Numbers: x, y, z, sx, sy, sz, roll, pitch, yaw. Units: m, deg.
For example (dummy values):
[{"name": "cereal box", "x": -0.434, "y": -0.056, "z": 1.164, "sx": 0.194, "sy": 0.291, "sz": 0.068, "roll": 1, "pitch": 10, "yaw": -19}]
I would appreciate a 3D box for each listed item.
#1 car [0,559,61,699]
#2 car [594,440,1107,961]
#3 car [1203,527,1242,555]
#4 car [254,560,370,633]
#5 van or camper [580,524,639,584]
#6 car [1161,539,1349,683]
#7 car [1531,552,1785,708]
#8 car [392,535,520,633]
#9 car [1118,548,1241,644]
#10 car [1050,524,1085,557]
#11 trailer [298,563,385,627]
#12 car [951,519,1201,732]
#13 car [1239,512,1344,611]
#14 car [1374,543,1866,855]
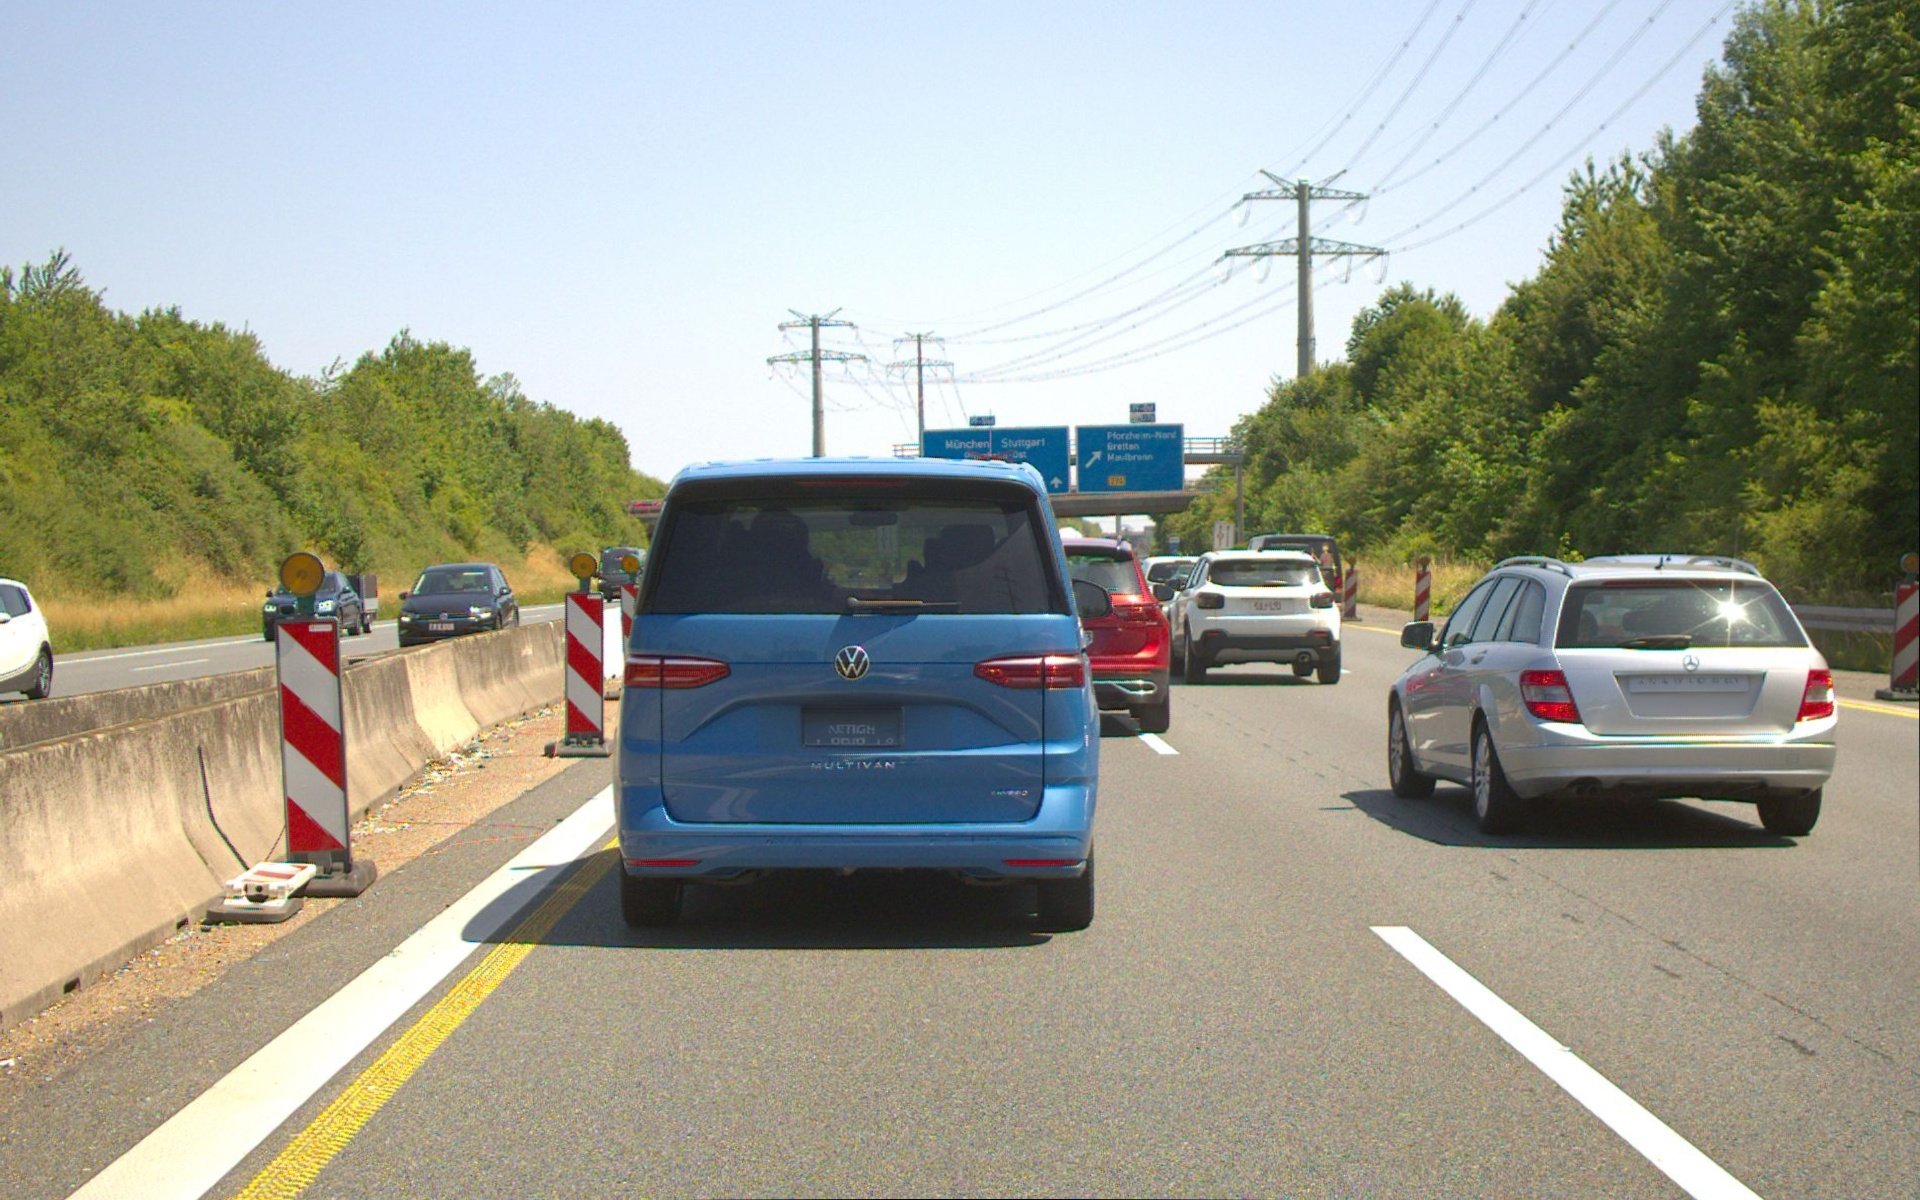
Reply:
[{"name": "car", "x": -12.496, "y": 0.366, "z": 41.847, "sx": 1.993, "sy": 1.656, "sz": 4.230, "roll": -1, "pitch": 1, "yaw": -1}, {"name": "car", "x": -0.460, "y": 0.349, "z": 14.922, "sx": 1.874, "sy": 1.905, "sz": 4.360, "roll": 1, "pitch": 1, "yaw": -1}, {"name": "car", "x": 15.624, "y": -3.512, "z": 205.075, "sx": 1.874, "sy": 1.665, "sz": 4.360, "roll": 1, "pitch": 1, "yaw": -1}, {"name": "car", "x": -16.199, "y": -0.111, "z": 86.112, "sx": 1.993, "sy": 1.644, "sz": 4.630, "roll": -3, "pitch": 1, "yaw": 0}, {"name": "van or camper", "x": -16.832, "y": -2.191, "z": 165.431, "sx": 2.222, "sy": 2.701, "sz": 7.081, "roll": -3, "pitch": 1, "yaw": -2}, {"name": "car", "x": 3.435, "y": 0.104, "z": 40.679, "sx": 1.797, "sy": 1.588, "sz": 4.227, "roll": 1, "pitch": 1, "yaw": -1}, {"name": "car", "x": 6.880, "y": 0.261, "z": 34.252, "sx": 1.701, "sy": 1.443, "sz": 3.788, "roll": 1, "pitch": 1, "yaw": -1}, {"name": "car", "x": -9.055, "y": -0.301, "z": 62.076, "sx": 1.773, "sy": 1.693, "sz": 4.171, "roll": 1, "pitch": 1, "yaw": -1}, {"name": "car", "x": 3.766, "y": -0.093, "z": 59.666, "sx": 1.797, "sy": 1.588, "sz": 4.227, "roll": 1, "pitch": 1, "yaw": -1}, {"name": "car", "x": 8.036, "y": -4.474, "z": 257.404, "sx": 2.377, "sy": 2.420, "sz": 4.227, "roll": 1, "pitch": 1, "yaw": -1}, {"name": "trailer", "x": -16.227, "y": -0.150, "z": 90.332, "sx": 1.568, "sy": 1.546, "sz": 3.779, "roll": -3, "pitch": 1, "yaw": -1}, {"name": "car", "x": 0.923, "y": 0.180, "z": 29.627, "sx": 1.874, "sy": 1.665, "sz": 4.360, "roll": 1, "pitch": 1, "yaw": -1}, {"name": "car", "x": 6.943, "y": -0.808, "z": 72.366, "sx": 1.797, "sy": 2.007, "sz": 4.227, "roll": 1, "pitch": 1, "yaw": 0}, {"name": "car", "x": 3.516, "y": 0.464, "z": 19.117, "sx": 1.770, "sy": 1.512, "sz": 4.360, "roll": 1, "pitch": 1, "yaw": -1}]
